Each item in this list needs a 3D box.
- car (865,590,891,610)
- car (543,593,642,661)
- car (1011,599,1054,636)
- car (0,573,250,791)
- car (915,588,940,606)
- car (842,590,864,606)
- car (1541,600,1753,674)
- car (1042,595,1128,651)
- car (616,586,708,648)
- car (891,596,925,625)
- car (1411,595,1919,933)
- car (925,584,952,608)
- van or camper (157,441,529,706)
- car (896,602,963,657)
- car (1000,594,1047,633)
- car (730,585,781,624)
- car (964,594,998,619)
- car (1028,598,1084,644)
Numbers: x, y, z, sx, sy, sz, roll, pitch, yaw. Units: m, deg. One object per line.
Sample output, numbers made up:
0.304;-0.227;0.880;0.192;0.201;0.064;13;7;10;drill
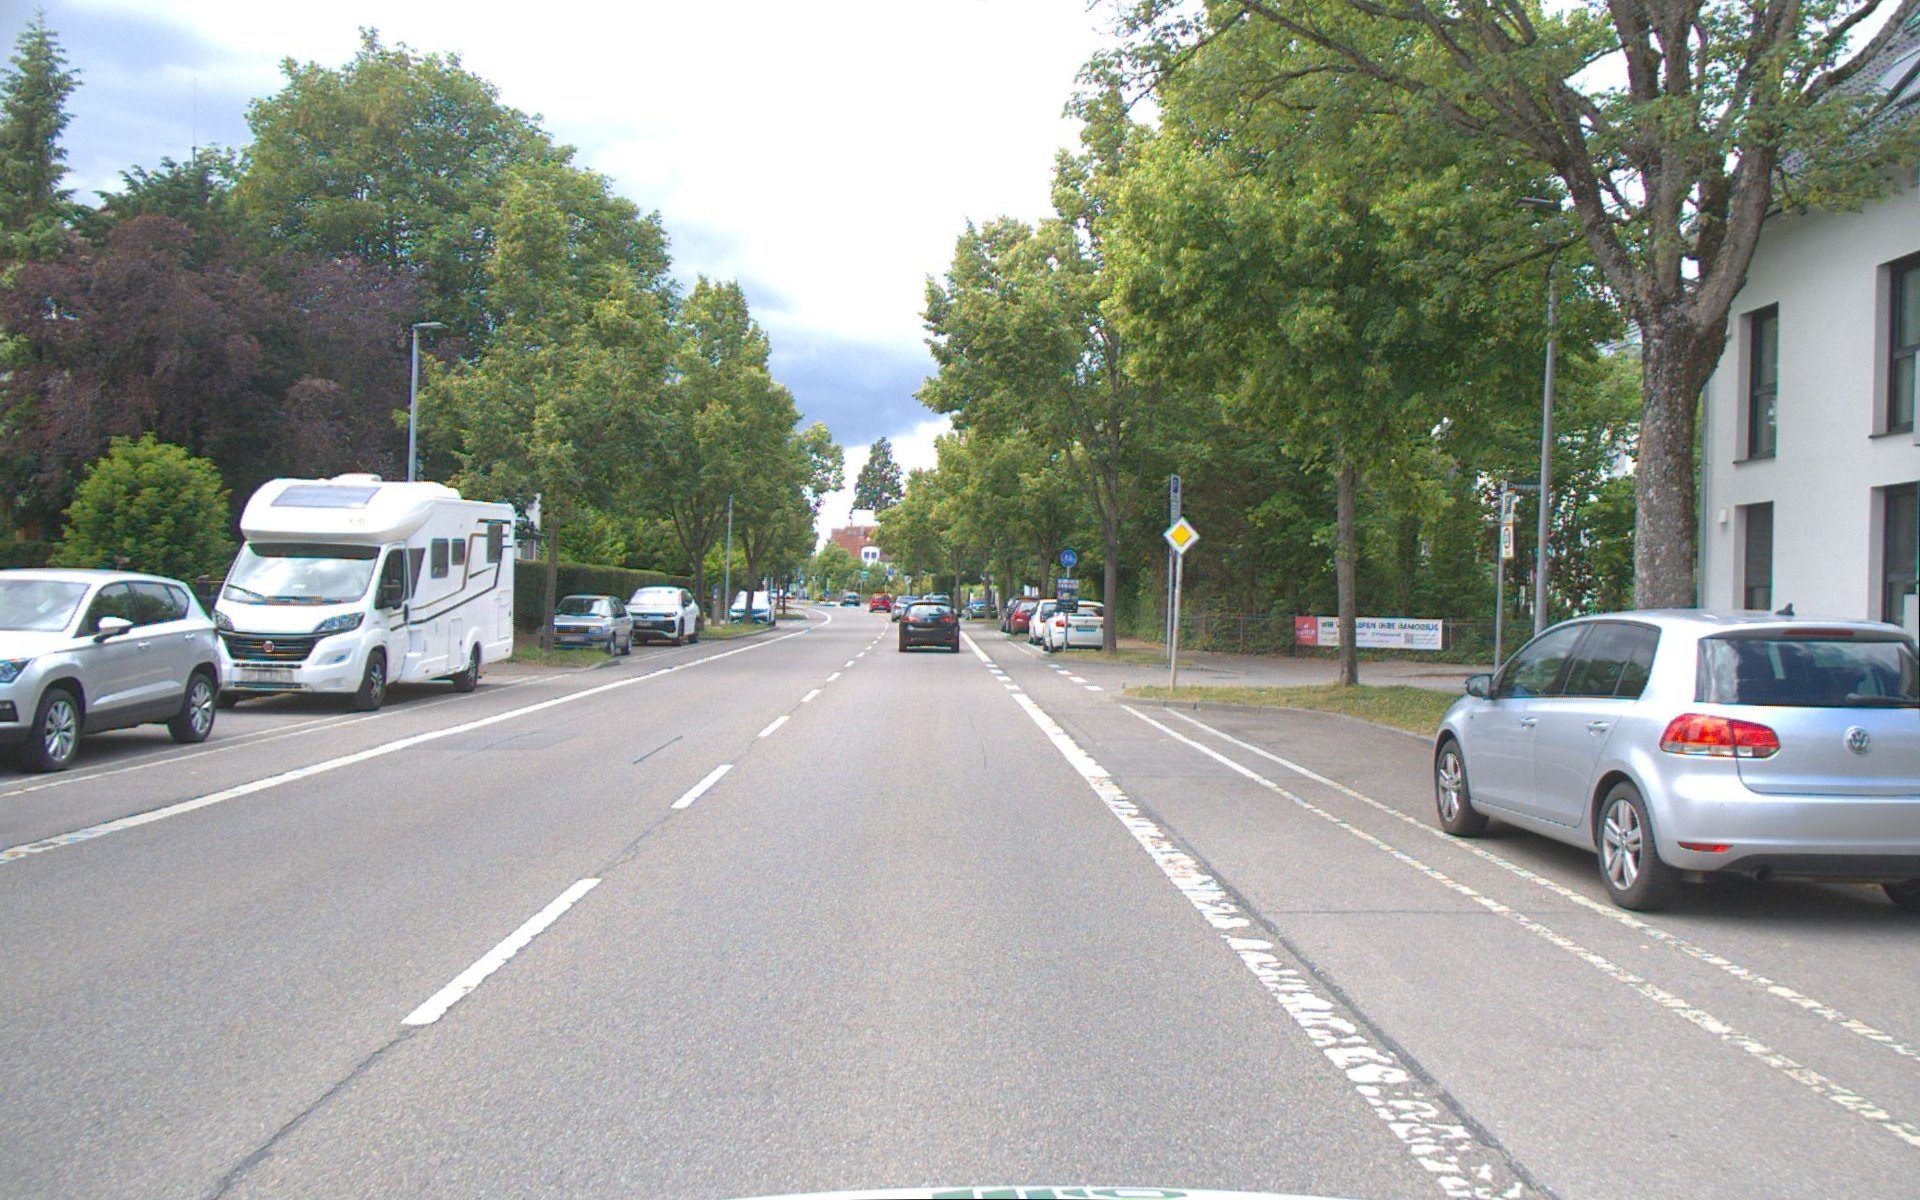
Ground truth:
-6.554;-0.003;131.736;1.954;1.557;3.996;1;0;-5;car
-8.626;0.595;39.165;1.524;1.496;4.449;1;0;-3;car
2.929;0.700;67.624;1.604;1.445;4.000;1;0;0;car
-7.974;0.595;14.473;1.687;1.628;4.271;1;0;-1;car
-2.655;-0.245;135.993;1.654;1.474;3.573;1;0;-8;car
-10.722;-0.190;165.866;1.955;1.534;3.995;2;-1;-6;car
15.007;0.802;36.234;3.909;1.485;1.792;1;1;-5;car
3.505;0.615;47.306;1.980;1.469;5.024;1;0;-1;car
-8.763;0.476;48.978;1.779;1.681;4.699;1;0;1;car
-3.026;0.578;95.720;1.953;1.585;3.998;1;1;-2;car
4.066;0.744;9.574;1.653;1.519;4.226;1;0;-2;car
-1.712;-0.332;130.040;1.754;1.803;3.977;1;0;-6;car
-8.206;-0.309;23.163;2.386;3.062;7.691;1;0;-1;van or camper
-0.906;0.806;46.854;1.748;1.474;3.555;1;0;-3;car
2.779;0.585;73.099;1.605;1.644;4.167;1;0;-4;car
-9.391;0.185;76.292;1.836;1.718;4.864;1;0;-1;car
1.270;0.383;102.594;1.651;1.457;4.039;1;0;-6;car
3.210;0.689;55.723;1.583;1.485;3.656;0;0;-1;car
